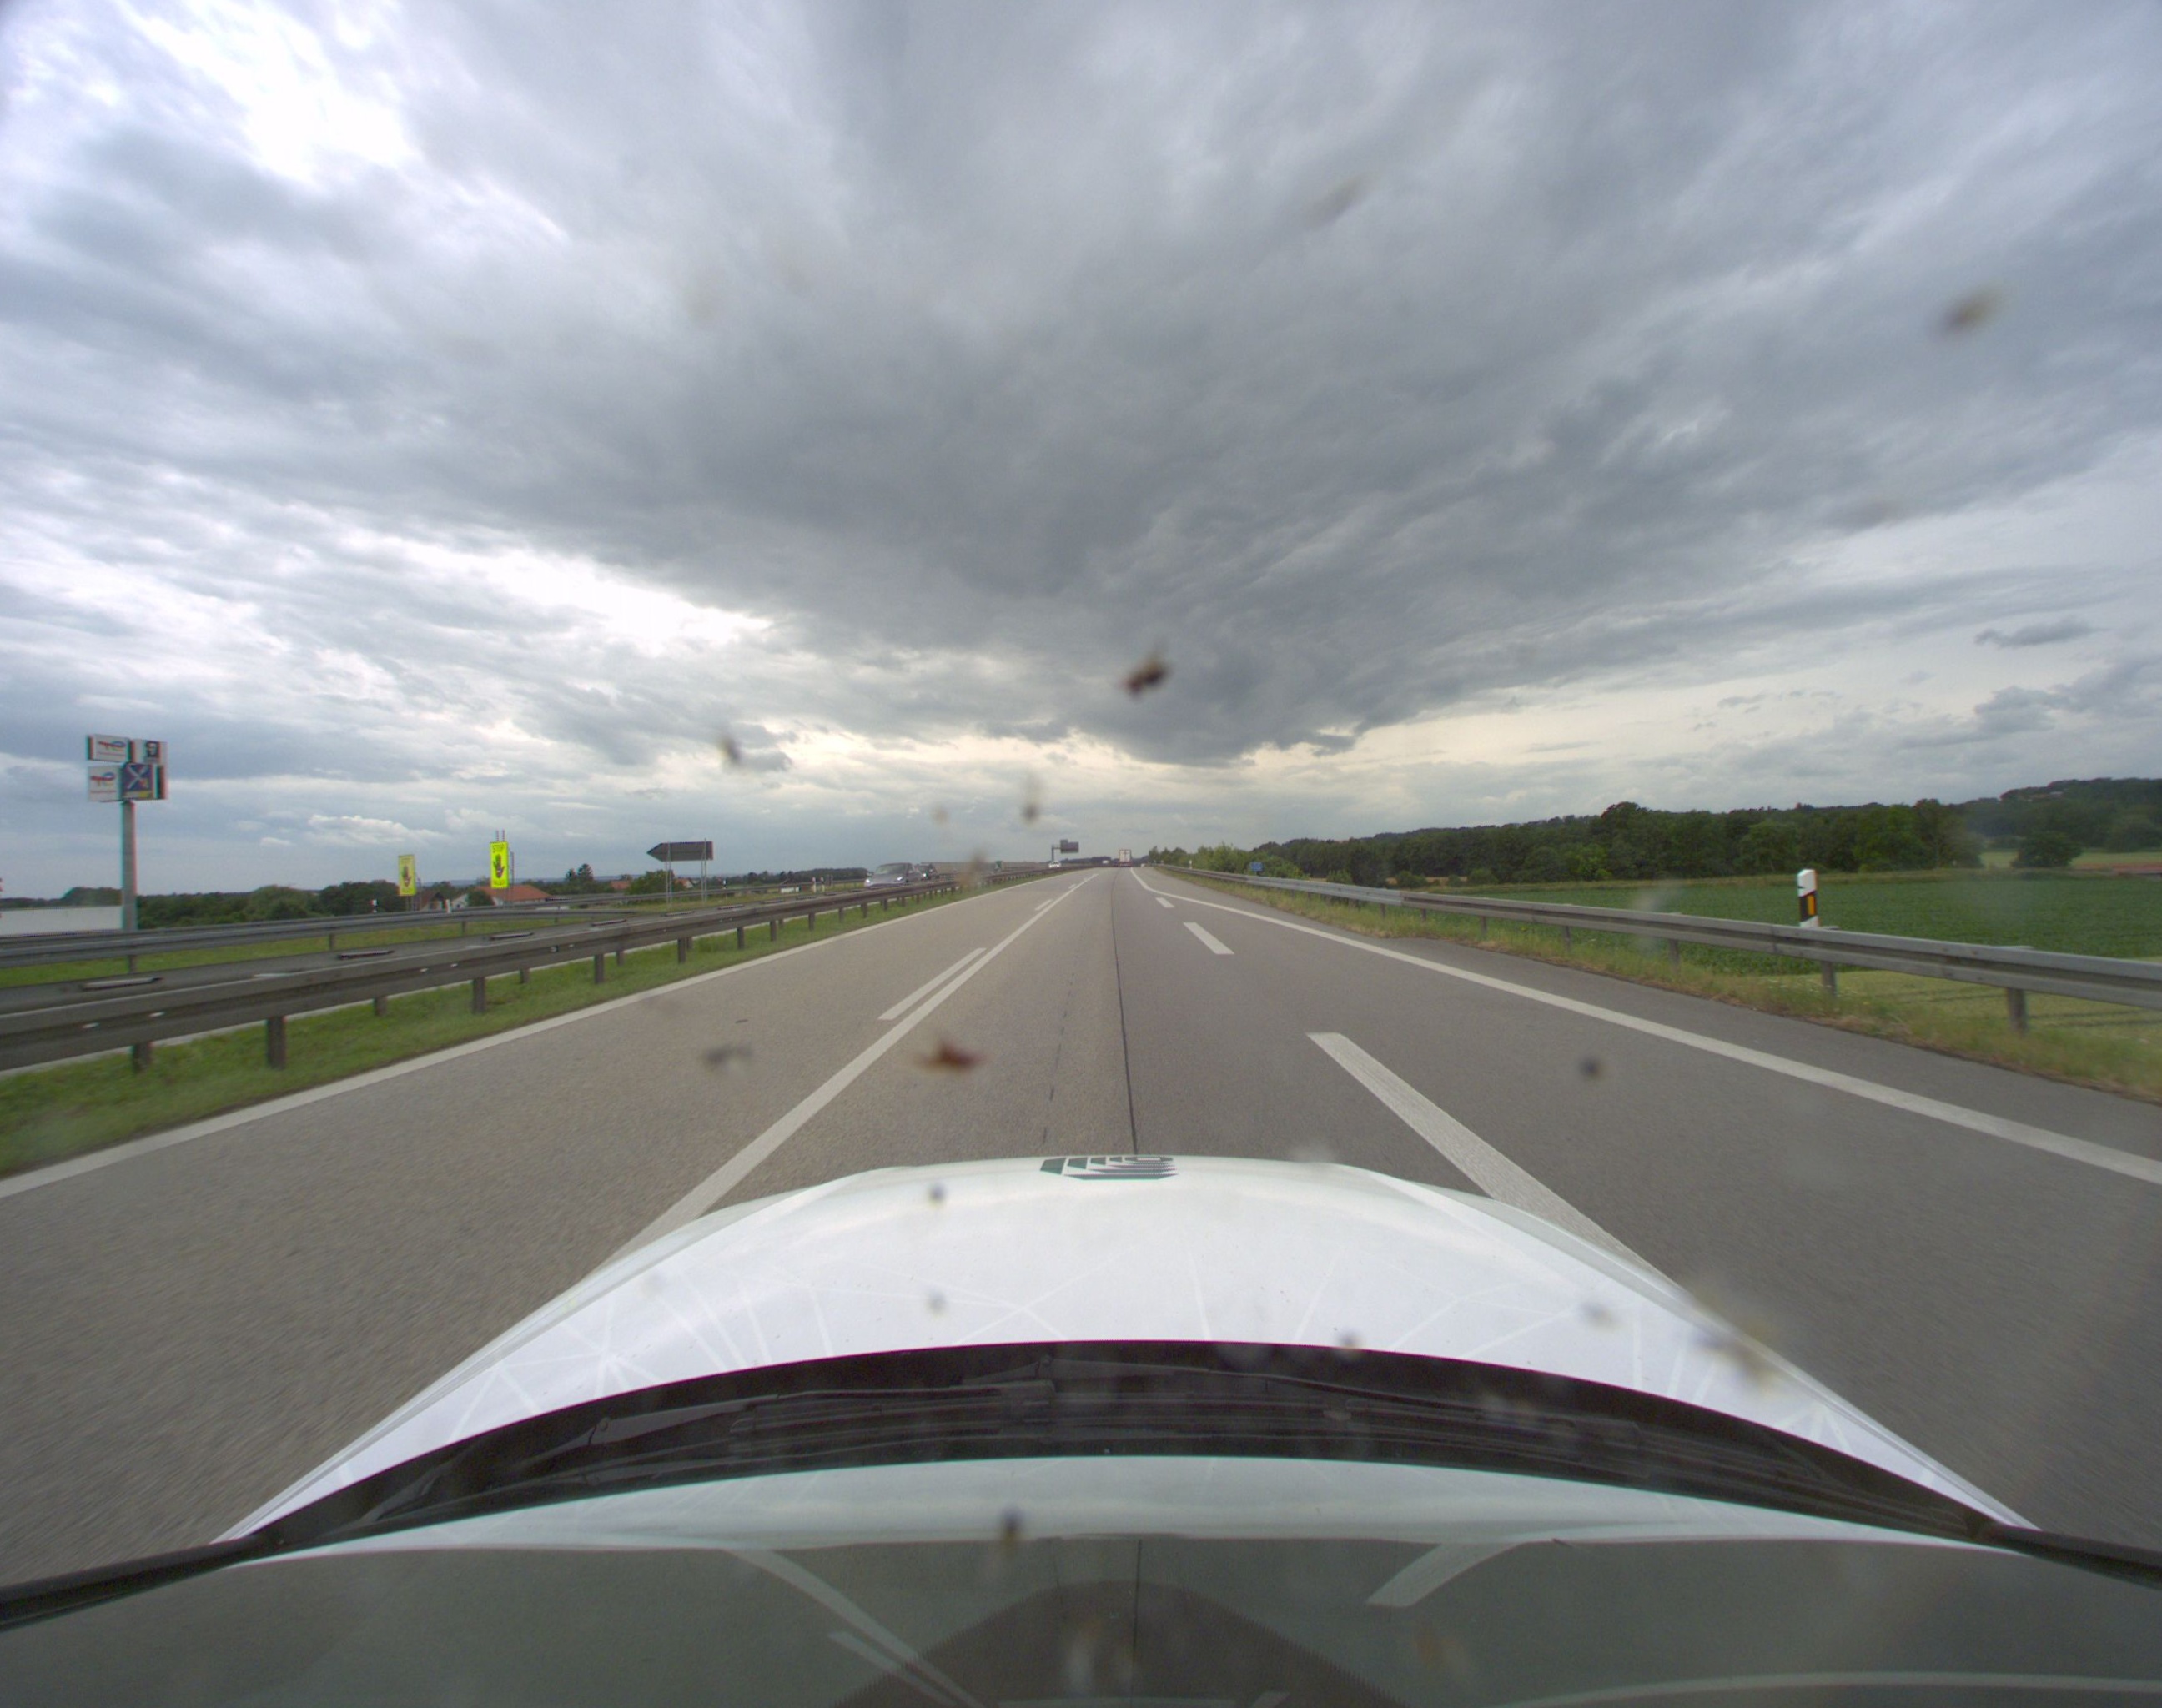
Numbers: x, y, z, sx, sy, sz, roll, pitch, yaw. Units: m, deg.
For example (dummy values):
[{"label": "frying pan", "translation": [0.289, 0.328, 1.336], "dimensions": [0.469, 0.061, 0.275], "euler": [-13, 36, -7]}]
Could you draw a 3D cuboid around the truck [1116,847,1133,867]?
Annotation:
[{"label": "truck", "translation": [10.471, 0.813, 195.372], "dimensions": [3.656, 4.413, 16.357], "euler": [-2, -2, 4]}]

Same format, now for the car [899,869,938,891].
[{"label": "car", "translation": [-11.436, 1.791, 57.640], "dimensions": [1.793, 1.393, 4.002], "euler": [0, 0, 2]}]

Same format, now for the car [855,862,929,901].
[{"label": "car", "translation": [-8.720, 1.231, 38.121], "dimensions": [2.128, 1.588, 5.000], "euler": [-3, 0, 1]}]

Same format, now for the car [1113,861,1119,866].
[{"label": "car", "translation": [10.721, 2.979, 249.116], "dimensions": [1.986, 1.420, 4.001], "euler": [-1, 0, 1]}]
